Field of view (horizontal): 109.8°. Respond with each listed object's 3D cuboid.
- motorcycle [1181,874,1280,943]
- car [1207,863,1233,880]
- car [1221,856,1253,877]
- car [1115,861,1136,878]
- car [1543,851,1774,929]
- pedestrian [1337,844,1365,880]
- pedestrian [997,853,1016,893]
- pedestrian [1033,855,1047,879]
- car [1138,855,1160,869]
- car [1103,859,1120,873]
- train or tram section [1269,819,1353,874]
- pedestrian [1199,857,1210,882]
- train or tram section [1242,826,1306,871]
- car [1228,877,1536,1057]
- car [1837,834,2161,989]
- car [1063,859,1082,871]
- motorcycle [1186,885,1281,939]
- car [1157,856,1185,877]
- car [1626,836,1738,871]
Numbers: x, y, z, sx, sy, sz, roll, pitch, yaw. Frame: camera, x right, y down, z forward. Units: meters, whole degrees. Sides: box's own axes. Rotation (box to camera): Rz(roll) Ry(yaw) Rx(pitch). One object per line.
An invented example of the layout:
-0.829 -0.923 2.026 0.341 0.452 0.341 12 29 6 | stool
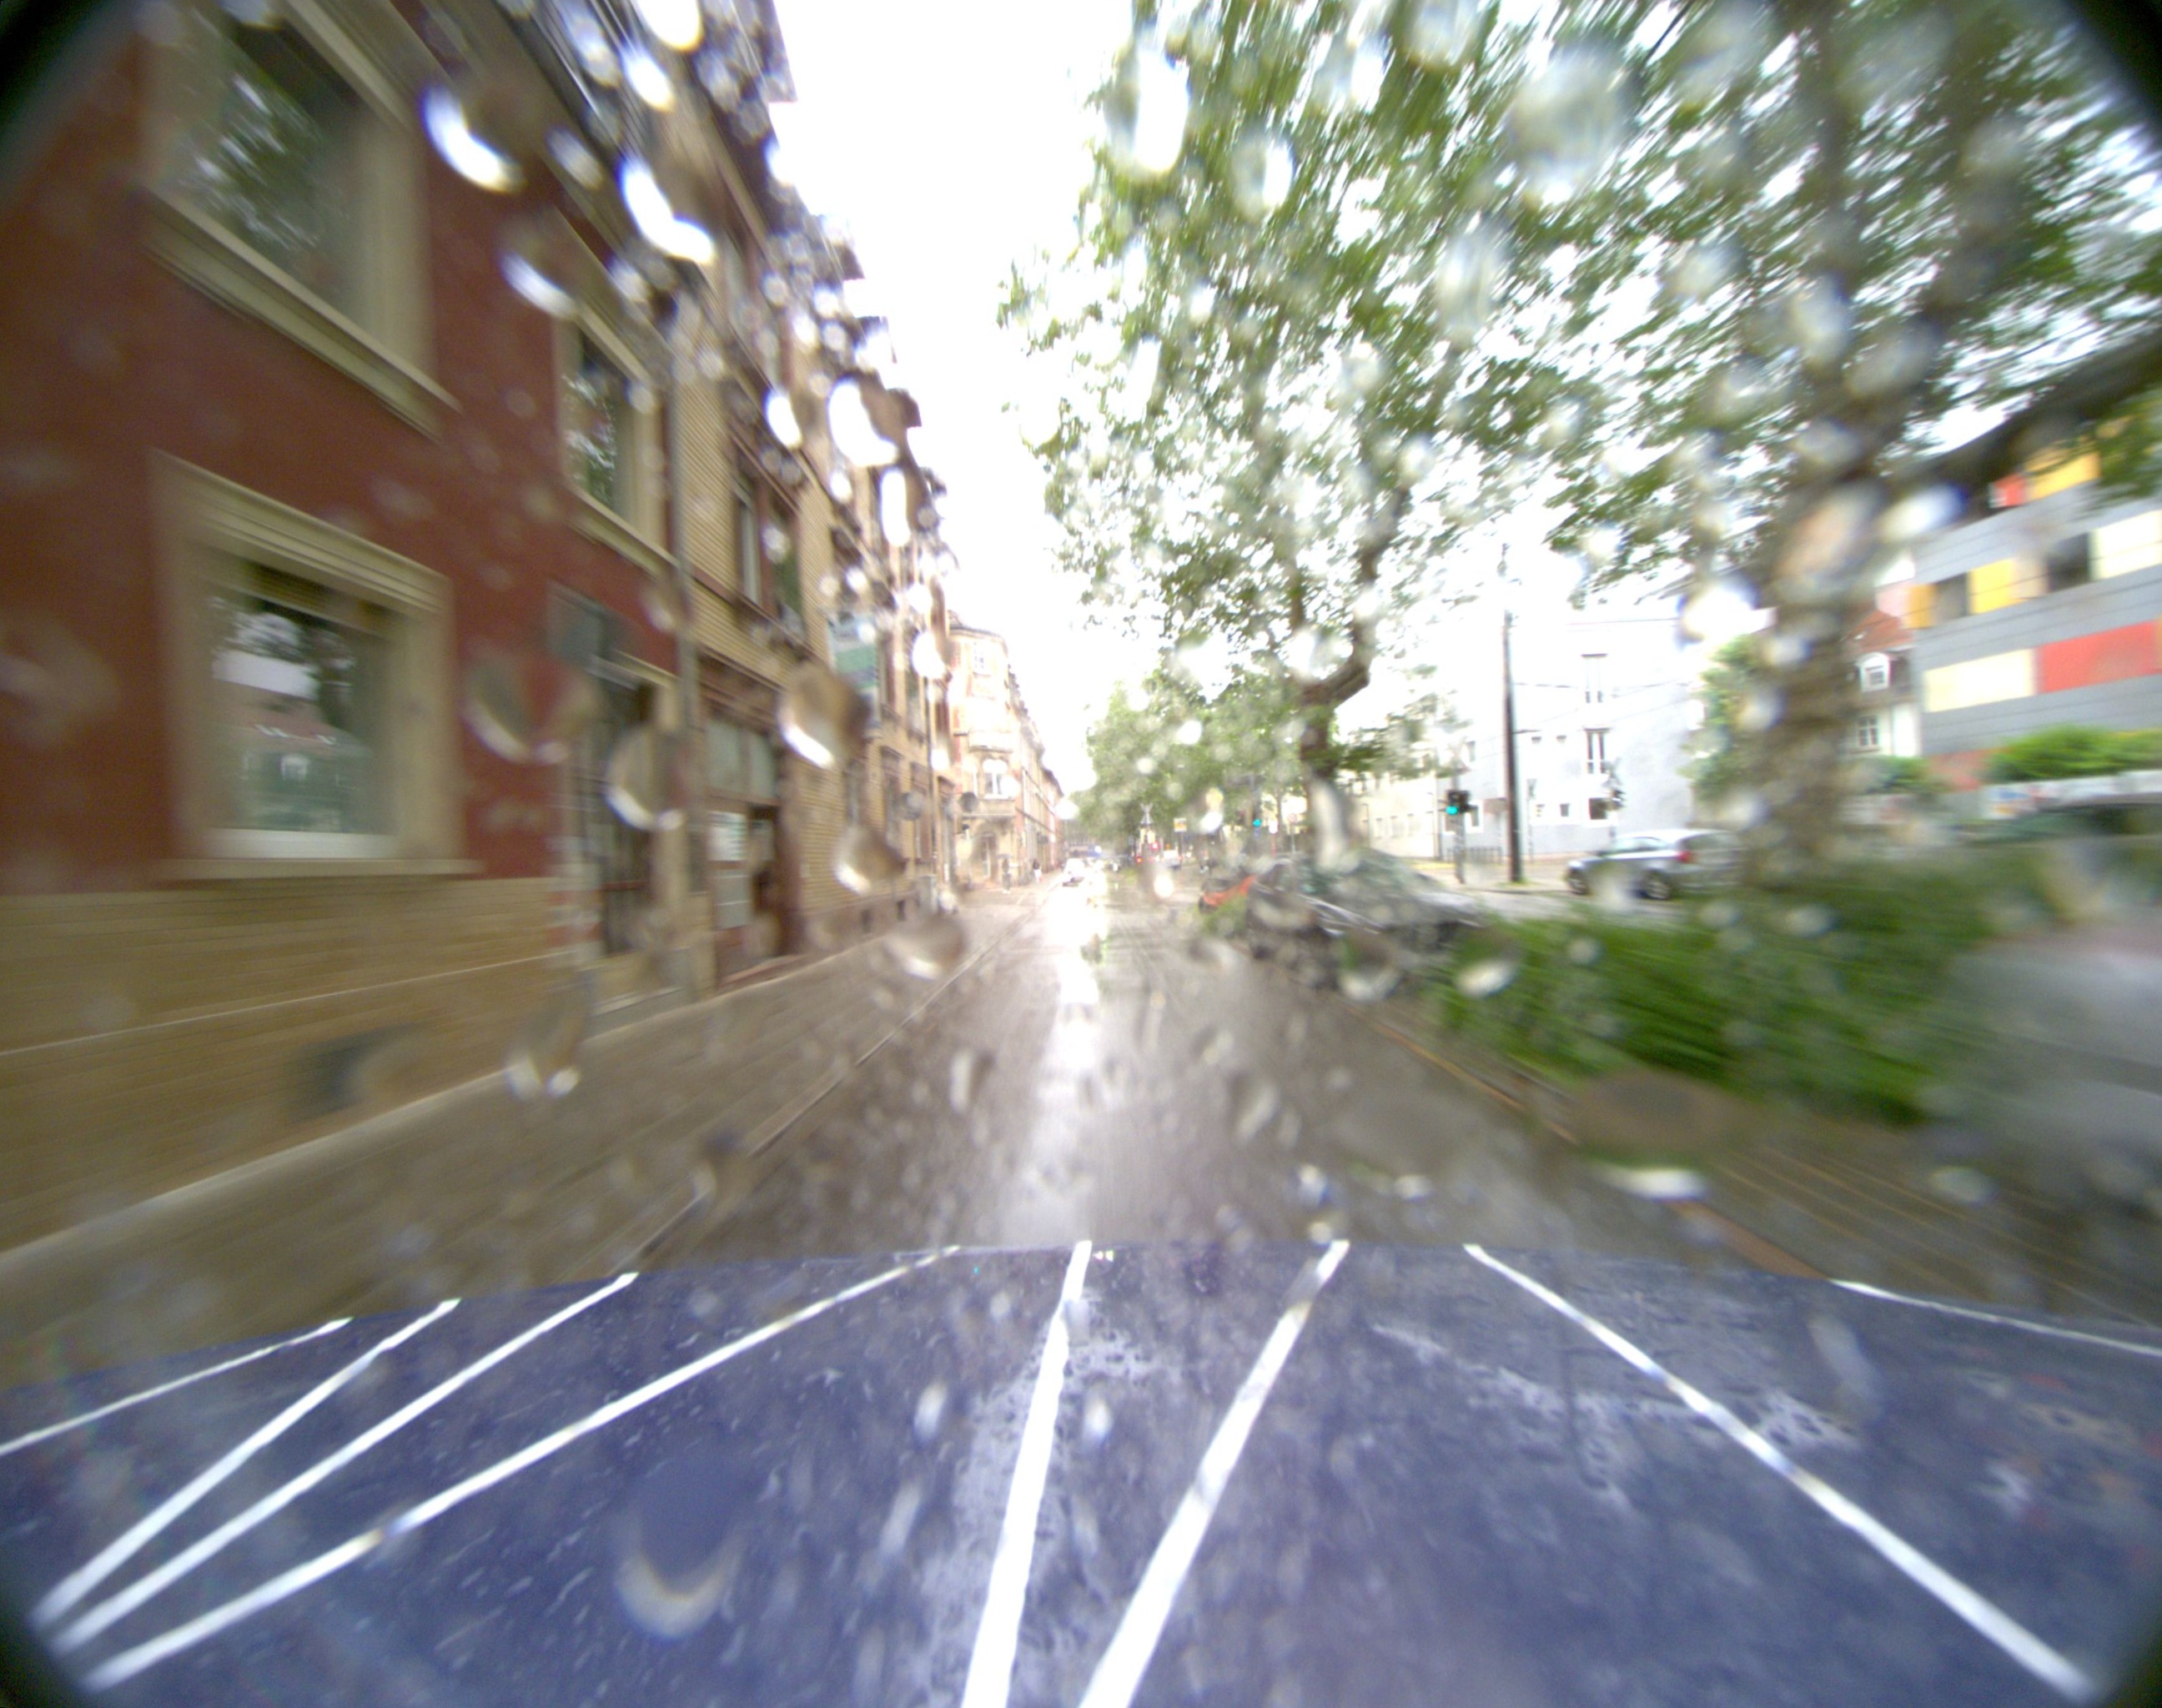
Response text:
3.462 1.243 17.740 2.104 1.491 0.773 -3 0 44 | motorcycle
12.700 1.583 69.583 1.676 1.376 3.706 -5 -1 0 | car
12.557 0.982 61.347 1.676 1.500 3.974 -5 -1 0 | car
4.119 1.448 70.357 1.732 1.473 4.006 -2 -1 1 | car
12.578 0.729 16.999 1.908 1.455 4.389 -2 -1 2 | car
13.576 0.406 38.286 0.938 1.789 1.206 -2 0 0 | pedestrian
-3.622 0.940 37.153 0.787 1.902 0.929 2 0 0 | pedestrian
-2.800 0.879 51.665 0.849 1.564 0.577 3 0 1 | pedestrian
8.604 1.059 96.738 2.062 1.609 4.673 -2 -1 -4 | car
3.531 1.415 88.638 1.663 1.566 3.424 -2 -1 7 | car
17.005 -0.479 57.283 2.907 3.620 11.553 -3 0 1 | train or tram section
9.121 1.159 56.236 0.663 1.844 0.635 -2 0 1 | pedestrian
17.238 -0.419 68.841 2.907 3.620 11.553 -3 0 1 | train or tram section
3.190 1.101 9.242 1.901 1.476 4.622 -3 -1 1 | car
12.163 0.588 9.024 1.909 1.591 4.468 -2 -1 1 | car
-0.967 1.331 91.822 1.976 1.359 4.162 3 -1 3 | car
3.763 1.412 18.877 0.871 1.202 2.137 -3 0 -45 | motorcycle
8.210 1.132 69.581 1.937 1.838 4.066 -2 -1 -1 | car
29.880 -0.011 37.832 4.088 1.518 1.888 -2 -1 -2 | car
